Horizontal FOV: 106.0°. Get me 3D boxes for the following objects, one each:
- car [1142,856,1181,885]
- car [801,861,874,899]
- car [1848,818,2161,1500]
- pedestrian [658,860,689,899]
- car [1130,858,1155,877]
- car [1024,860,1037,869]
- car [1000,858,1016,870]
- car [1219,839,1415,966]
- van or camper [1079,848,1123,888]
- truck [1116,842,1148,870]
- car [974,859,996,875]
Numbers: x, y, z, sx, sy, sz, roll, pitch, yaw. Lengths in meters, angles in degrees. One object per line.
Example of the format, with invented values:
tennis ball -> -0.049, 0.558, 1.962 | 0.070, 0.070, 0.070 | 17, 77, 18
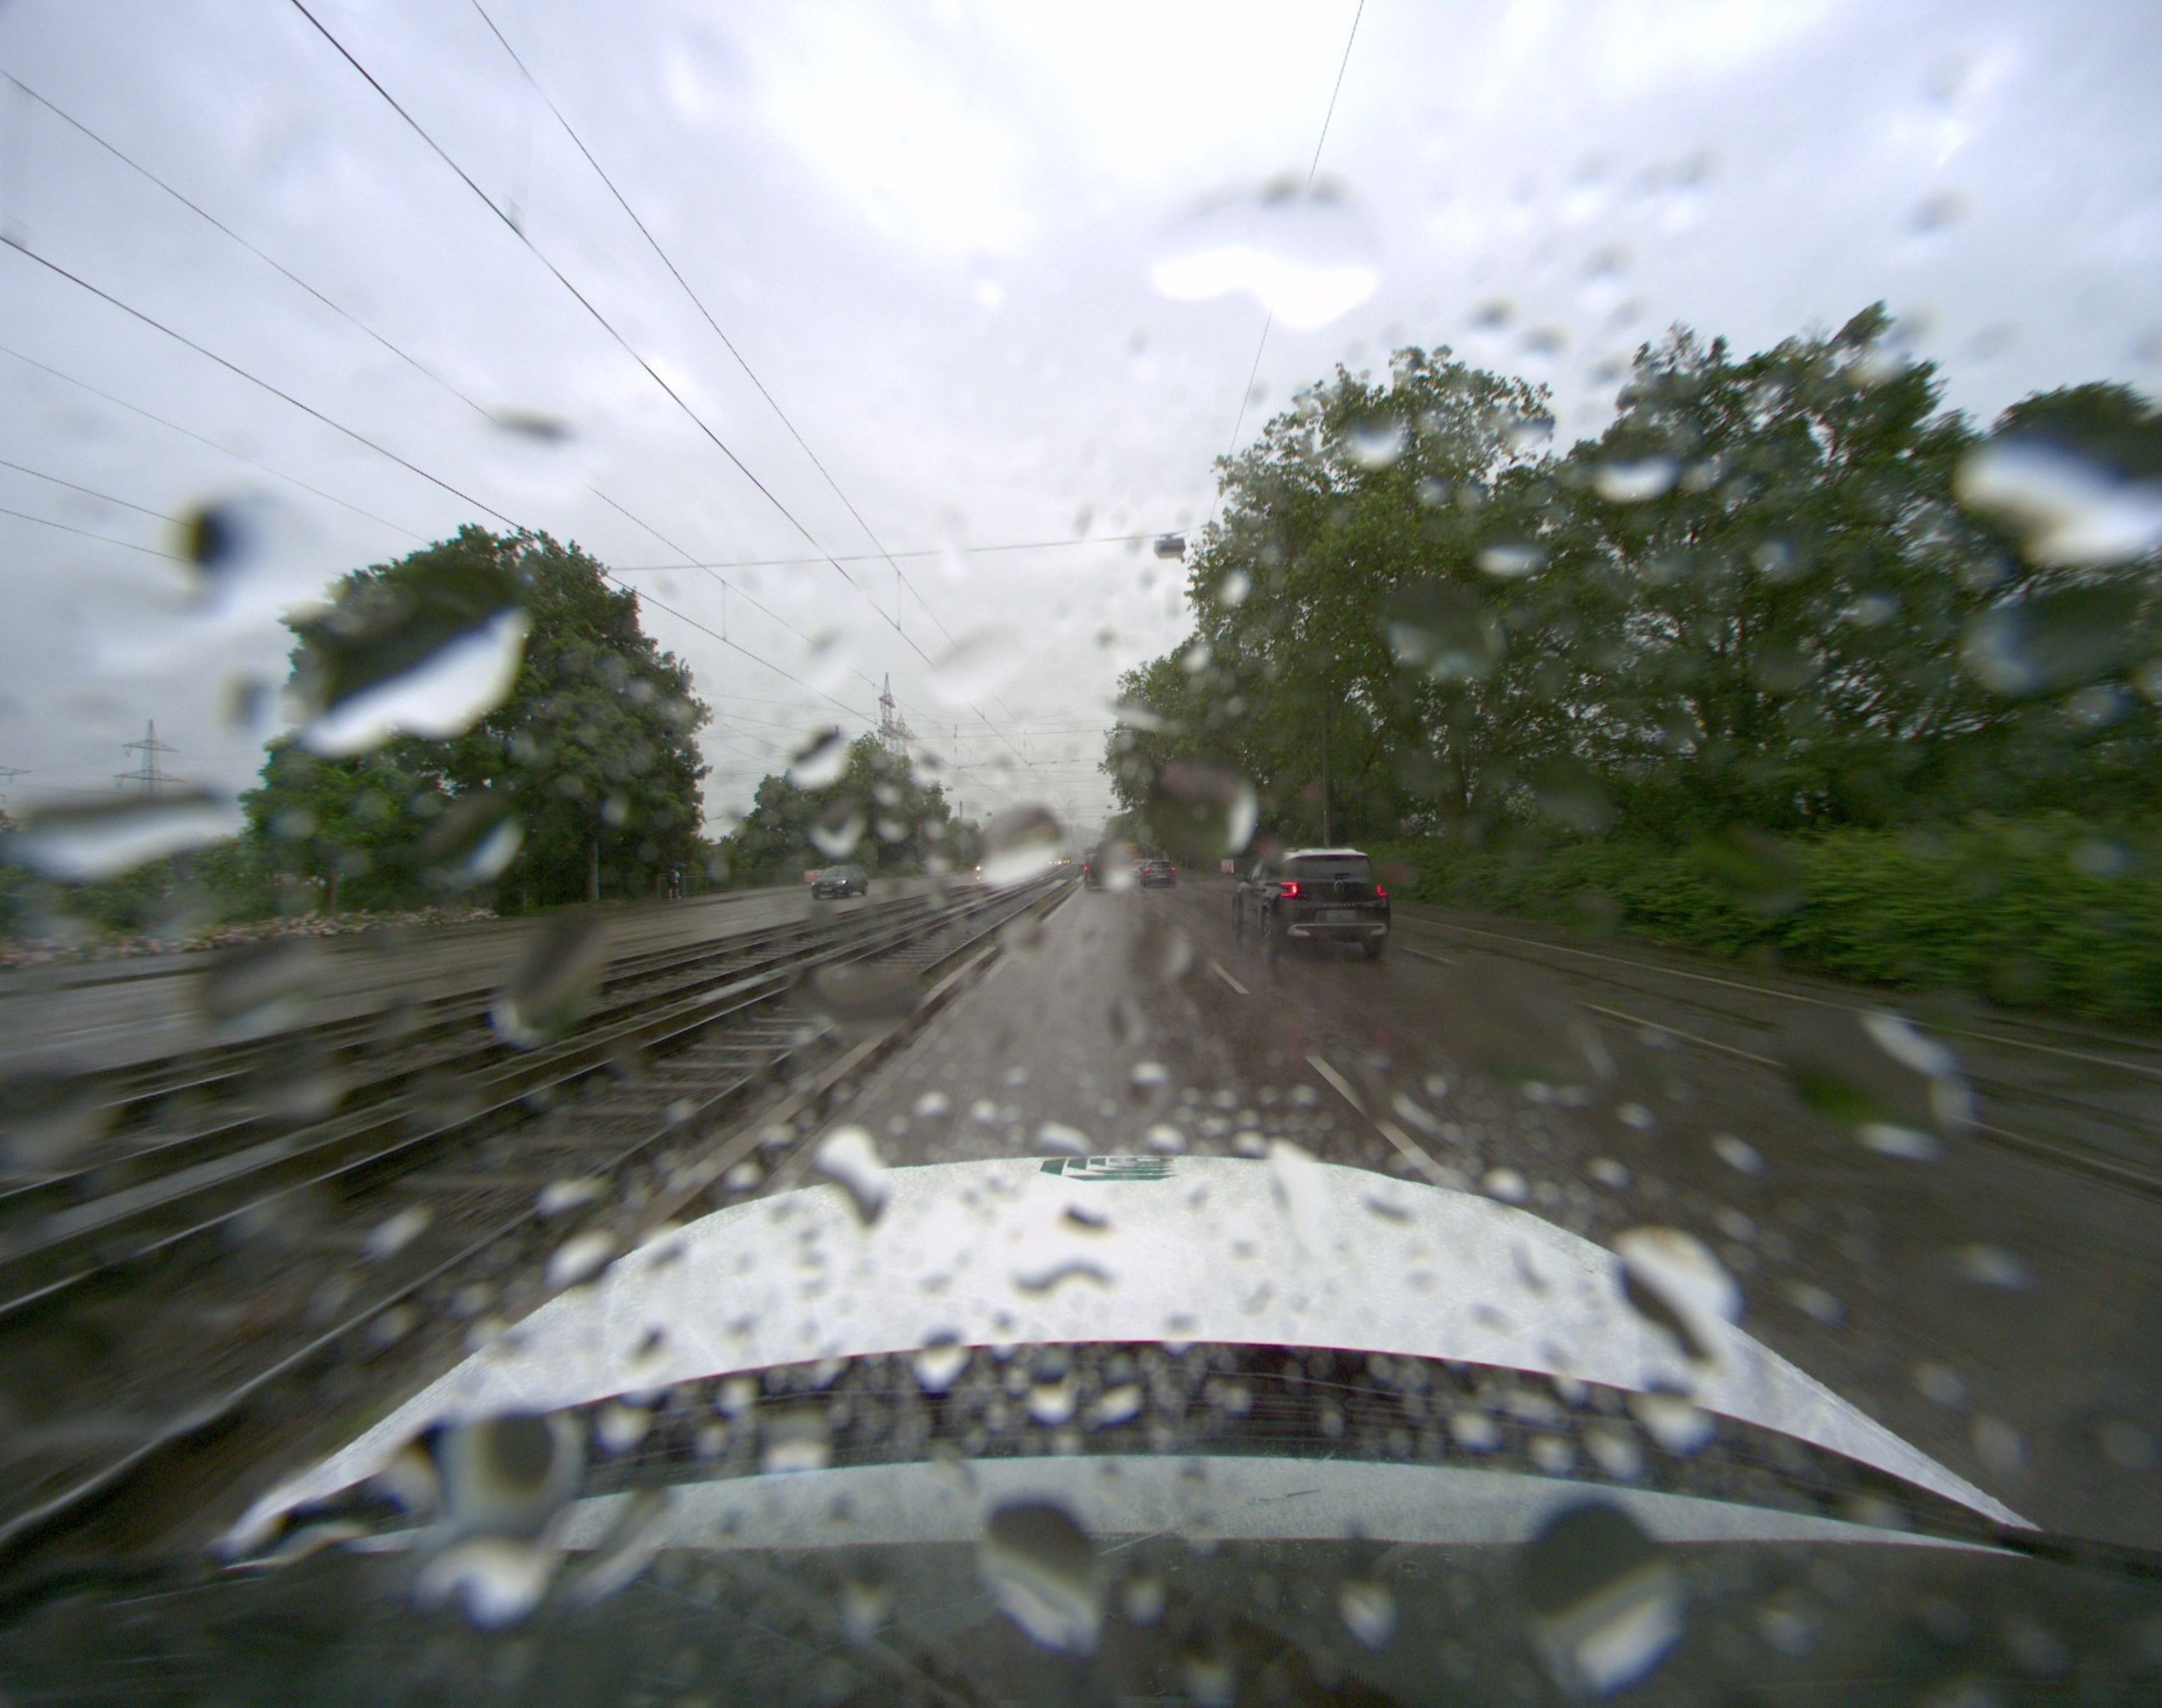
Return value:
car -> 4.126, 0.813, 42.264 | 1.811, 1.414, 3.780 | 0, 1, 2
car -> -11.638, 1.215, 39.165 | 1.985, 1.618, 4.257 | -2, 0, 3
car -> 3.401, 0.696, 0.587 | 1.961, 1.528, 3.990 | 0, 1, 0
pedestrian -> -19.363, 1.207, 38.705 | 0.848, 1.759, 1.121 | -2, 0, 1
car -> 4.681, 1.011, 62.439 | 1.811, 1.414, 3.780 | 0, 1, 2
car -> -8.393, 1.779, 135.709 | 1.650, 1.486, 4.015 | -1, 0, 3
car -> -11.960, 1.622, 133.632 | 1.985, 1.816, 4.003 | -1, 0, 3
car -> 3.618, 0.630, 13.457 | 1.893, 1.716, 4.725 | 0, 1, 0
van or camper -> 0.938, 0.645, 39.924 | 1.988, 1.784, 3.998 | 0, 1, -1
truck -> 5.235, 0.197, 84.945 | 3.102, 2.773, 6.330 | -1, 0, 1
car -> -11.540, 1.555, 97.933 | 1.986, 1.816, 4.660 | -1, 0, 1
